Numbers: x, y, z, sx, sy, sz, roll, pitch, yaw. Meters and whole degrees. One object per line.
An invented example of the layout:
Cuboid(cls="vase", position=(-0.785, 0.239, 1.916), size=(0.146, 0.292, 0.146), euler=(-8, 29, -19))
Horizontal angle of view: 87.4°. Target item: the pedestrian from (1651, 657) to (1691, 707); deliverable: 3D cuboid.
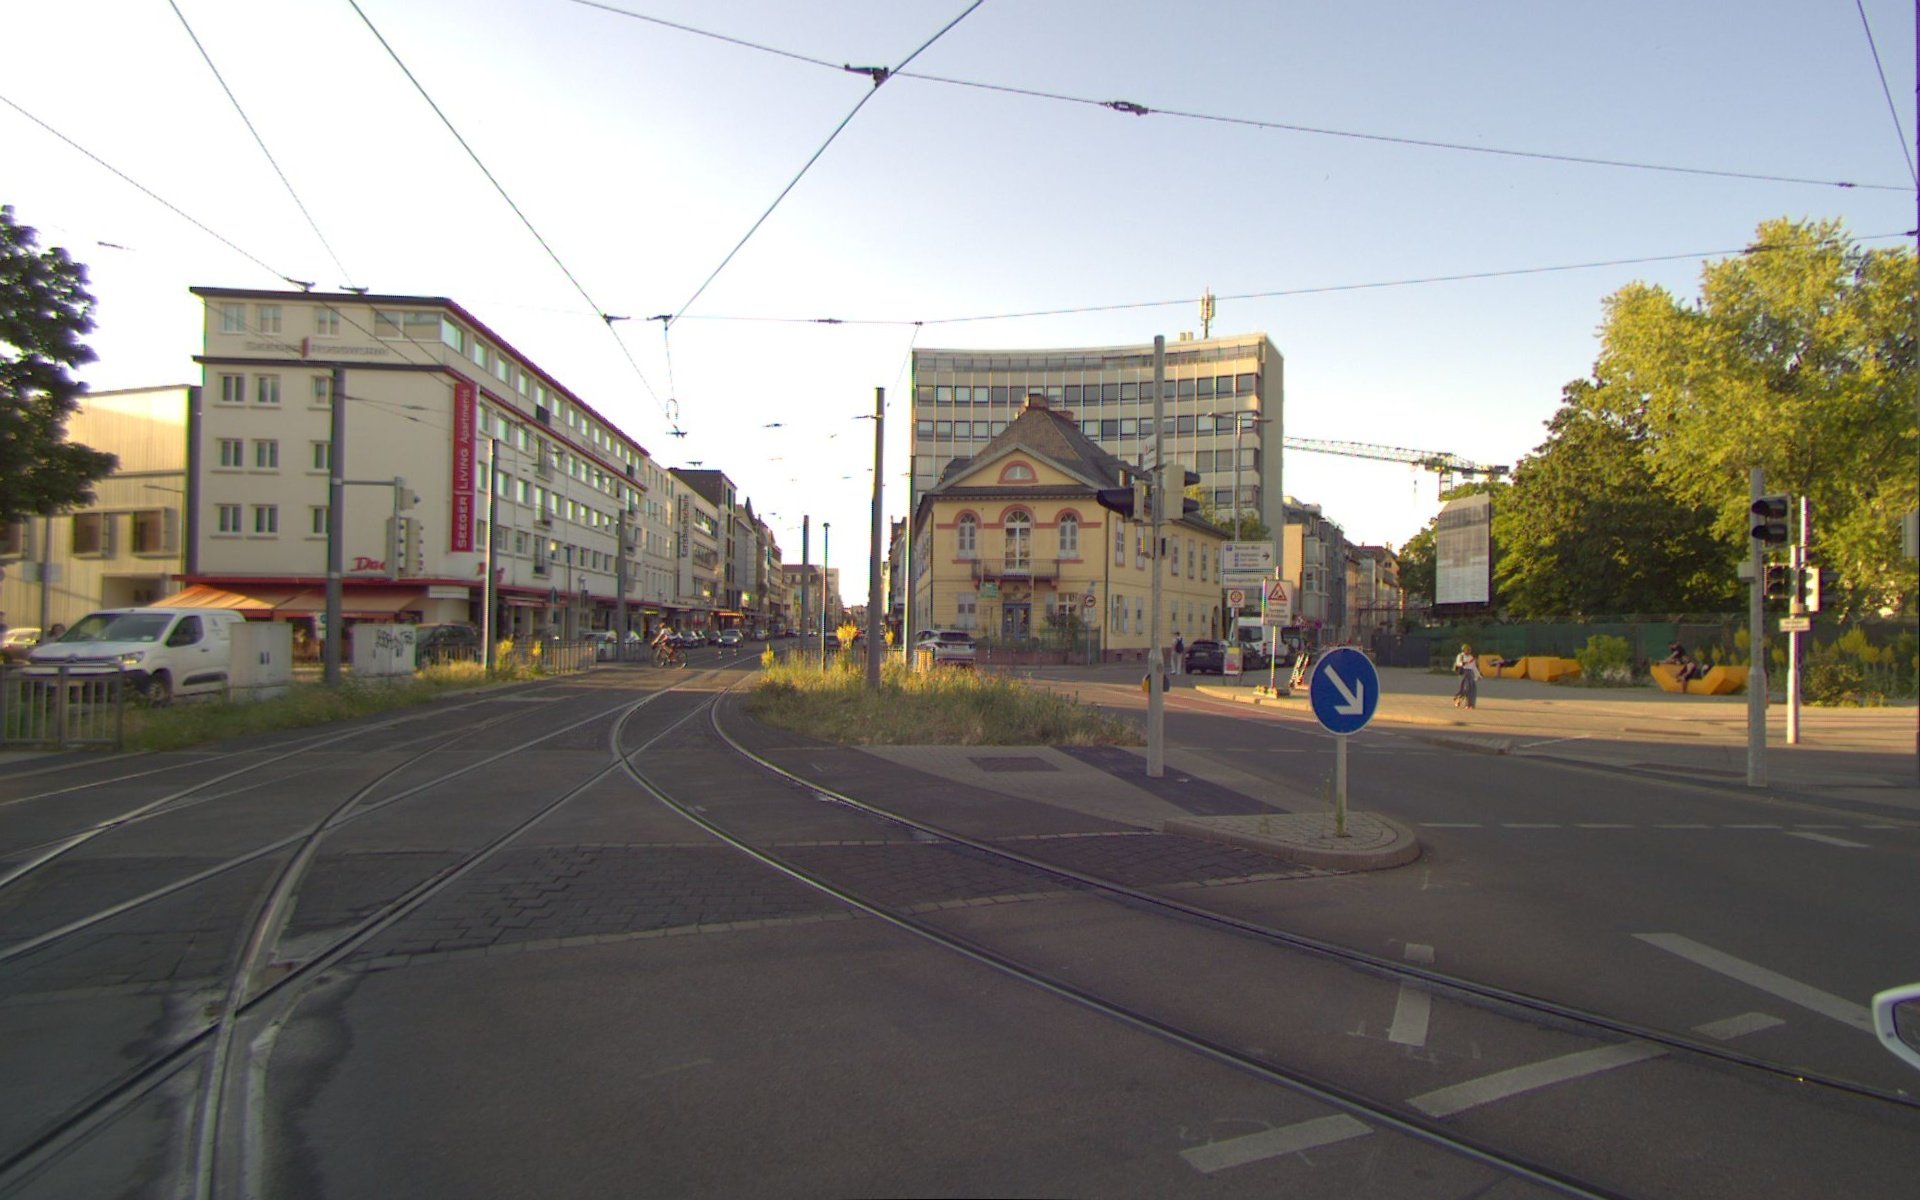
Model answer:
Cuboid(cls="pedestrian", position=(24.554, 2.816, 34.695), size=(0.806, 1.687, 0.764), euler=(1, -2, -3))

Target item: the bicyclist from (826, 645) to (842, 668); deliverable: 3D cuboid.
Cuboid(cls="bicyclist", position=(-7.106, 3.185, 56.556), size=(0.718, 1.274, 0.665), euler=(2, -2, -21))

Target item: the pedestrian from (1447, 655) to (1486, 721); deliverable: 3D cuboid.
Cuboid(cls="pedestrian", position=(12.809, 2.218, 25.423), size=(0.676, 1.634, 0.596), euler=(1, -2, -1))

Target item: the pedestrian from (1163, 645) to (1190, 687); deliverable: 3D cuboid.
Cuboid(cls="pedestrian", position=(9.130, 2.781, 42.366), size=(0.864, 1.747, 0.827), euler=(1, -2, 33))

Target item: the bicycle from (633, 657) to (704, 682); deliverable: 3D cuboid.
Cuboid(cls="bicycle", position=(-10.836, 2.577, 37.410), size=(2.376, 0.857, 0.846), euler=(1, -2, -2))

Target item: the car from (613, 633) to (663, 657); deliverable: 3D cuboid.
Cuboid(cls="car", position=(-20.839, 2.903, 65.111), size=(1.961, 1.484, 4.401), euler=(0, -2, -2))

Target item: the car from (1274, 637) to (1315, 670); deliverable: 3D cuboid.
Cuboid(cls="car", position=(20.621, 3.287, 61.827), size=(1.687, 1.873, 4.016), euler=(0, -2, 29))

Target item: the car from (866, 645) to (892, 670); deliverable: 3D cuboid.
Cuboid(cls="car", position=(-5.848, 4.180, 72.492), size=(1.705, 1.730, 3.437), euler=(1, -4, -7))

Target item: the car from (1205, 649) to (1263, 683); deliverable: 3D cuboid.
Cuboid(cls="car", position=(13.134, 3.111, 47.943), size=(1.703, 1.448, 4.468), euler=(0, -2, 28))

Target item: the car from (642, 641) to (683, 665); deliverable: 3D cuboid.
Cuboid(cls="car", position=(-22.306, 3.968, 75.430), size=(1.961, 1.687, 4.000), euler=(1, -2, -2))

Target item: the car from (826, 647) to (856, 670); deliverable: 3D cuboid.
Cuboid(cls="car", position=(-8.936, 4.365, 75.745), size=(1.961, 1.536, 4.414), euler=(-1, -2, -3))

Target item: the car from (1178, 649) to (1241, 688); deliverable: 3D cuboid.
Cuboid(cls="car", position=(10.904, 2.952, 43.683), size=(1.751, 1.563, 4.286), euler=(0, -2, 27))

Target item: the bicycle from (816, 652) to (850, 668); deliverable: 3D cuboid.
Cuboid(cls="bicycle", position=(-7.137, 3.385, 56.559), size=(1.770, 0.904, 0.677), euler=(2, -2, -21))

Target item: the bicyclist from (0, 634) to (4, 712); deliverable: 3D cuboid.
Cuboid(cls="bicyclist", position=(-18.646, 1.397, 19.084), size=(0.609, 1.506, 0.709), euler=(3, -3, -41))

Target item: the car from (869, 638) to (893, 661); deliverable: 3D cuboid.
Cuboid(cls="car", position=(-6.146, 3.849, 77.947), size=(1.705, 1.730, 3.802), euler=(1, -2, -7))

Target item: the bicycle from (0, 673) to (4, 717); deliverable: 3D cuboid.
Cuboid(cls="bicycle", position=(-18.673, 1.839, 19.068), size=(0.610, 0.835, 1.784), euler=(3, -3, -40))

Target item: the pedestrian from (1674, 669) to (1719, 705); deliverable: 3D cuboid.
Cuboid(cls="pedestrian", position=(24.816, 2.935, 33.852), size=(0.971, 1.173, 0.735), euler=(1, -2, -4))

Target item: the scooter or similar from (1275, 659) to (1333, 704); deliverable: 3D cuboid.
Cuboid(cls="scooter or similar", position=(10.615, 2.503, 30.987), size=(1.626, 1.309, 0.460), euler=(0, -2, 37))

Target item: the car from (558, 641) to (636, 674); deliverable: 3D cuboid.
Cuboid(cls="car", position=(-17.397, 2.722, 48.395), size=(2.000, 1.460, 4.662), euler=(1, -2, 1))

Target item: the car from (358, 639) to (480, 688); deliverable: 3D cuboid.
Cuboid(cls="car", position=(-18.877, 2.186, 35.285), size=(1.961, 1.594, 4.303), euler=(1, -2, -1))

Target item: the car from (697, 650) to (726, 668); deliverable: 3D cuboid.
Cuboid(cls="car", position=(-24.601, 5.820, 99.477), size=(1.961, 1.687, 4.000), euler=(1, -2, -2))

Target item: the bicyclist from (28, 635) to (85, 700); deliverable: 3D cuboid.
Cuboid(cls="bicyclist", position=(-19.862, 1.470, 22.088), size=(0.706, 1.387, 0.680), euler=(2, -2, -24))

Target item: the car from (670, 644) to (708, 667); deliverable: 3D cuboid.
Cuboid(cls="car", position=(-22.798, 4.698, 84.694), size=(1.962, 1.686, 4.639), euler=(5, -4, -2))

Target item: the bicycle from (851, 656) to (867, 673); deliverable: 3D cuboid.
Cuboid(cls="bicycle", position=(-5.648, 3.577, 56.086), size=(0.816, 0.881, 2.547), euler=(1, -2, -7))

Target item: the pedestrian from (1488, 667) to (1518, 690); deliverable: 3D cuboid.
Cuboid(cls="pedestrian", position=(23.349, 3.371, 43.206), size=(0.554, 0.905, 0.976), euler=(2, -2, -24))

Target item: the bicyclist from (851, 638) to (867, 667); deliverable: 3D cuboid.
Cuboid(cls="bicyclist", position=(-5.635, 2.946, 56.176), size=(0.816, 1.589, 0.786), euler=(1, -2, -7))

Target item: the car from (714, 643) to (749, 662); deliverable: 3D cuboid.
Cuboid(cls="car", position=(-20.196, 4.655, 89.016), size=(2.162, 1.580, 4.281), euler=(1, -2, -1))

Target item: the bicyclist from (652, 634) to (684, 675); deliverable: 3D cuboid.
Cuboid(cls="bicyclist", position=(-10.880, 2.027, 37.428), size=(0.912, 1.460, 0.835), euler=(1, -2, -2))

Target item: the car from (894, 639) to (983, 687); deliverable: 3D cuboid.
Cuboid(cls="car", position=(-0.904, 2.368, 38.374), size=(1.921, 1.682, 4.512), euler=(2, -2, -22))

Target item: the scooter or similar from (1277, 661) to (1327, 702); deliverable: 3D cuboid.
Cuboid(cls="scooter or similar", position=(10.396, 2.453, 30.536), size=(1.382, 1.181, 0.459), euler=(-1, -2, 38))

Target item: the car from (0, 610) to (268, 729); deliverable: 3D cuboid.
Cuboid(cls="car", position=(-14.801, 1.198, 18.387), size=(1.968, 1.862, 4.860), euler=(2, -2, -16))

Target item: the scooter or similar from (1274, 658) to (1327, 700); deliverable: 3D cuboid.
Cuboid(cls="scooter or similar", position=(10.761, 2.482, 31.755), size=(1.502, 1.276, 0.610), euler=(-1, -3, 37))

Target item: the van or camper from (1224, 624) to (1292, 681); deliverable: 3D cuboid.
Cuboid(cls="van or camper", position=(15.910, 2.796, 53.372), size=(2.047, 2.811, 6.439), euler=(0, -3, 30))
